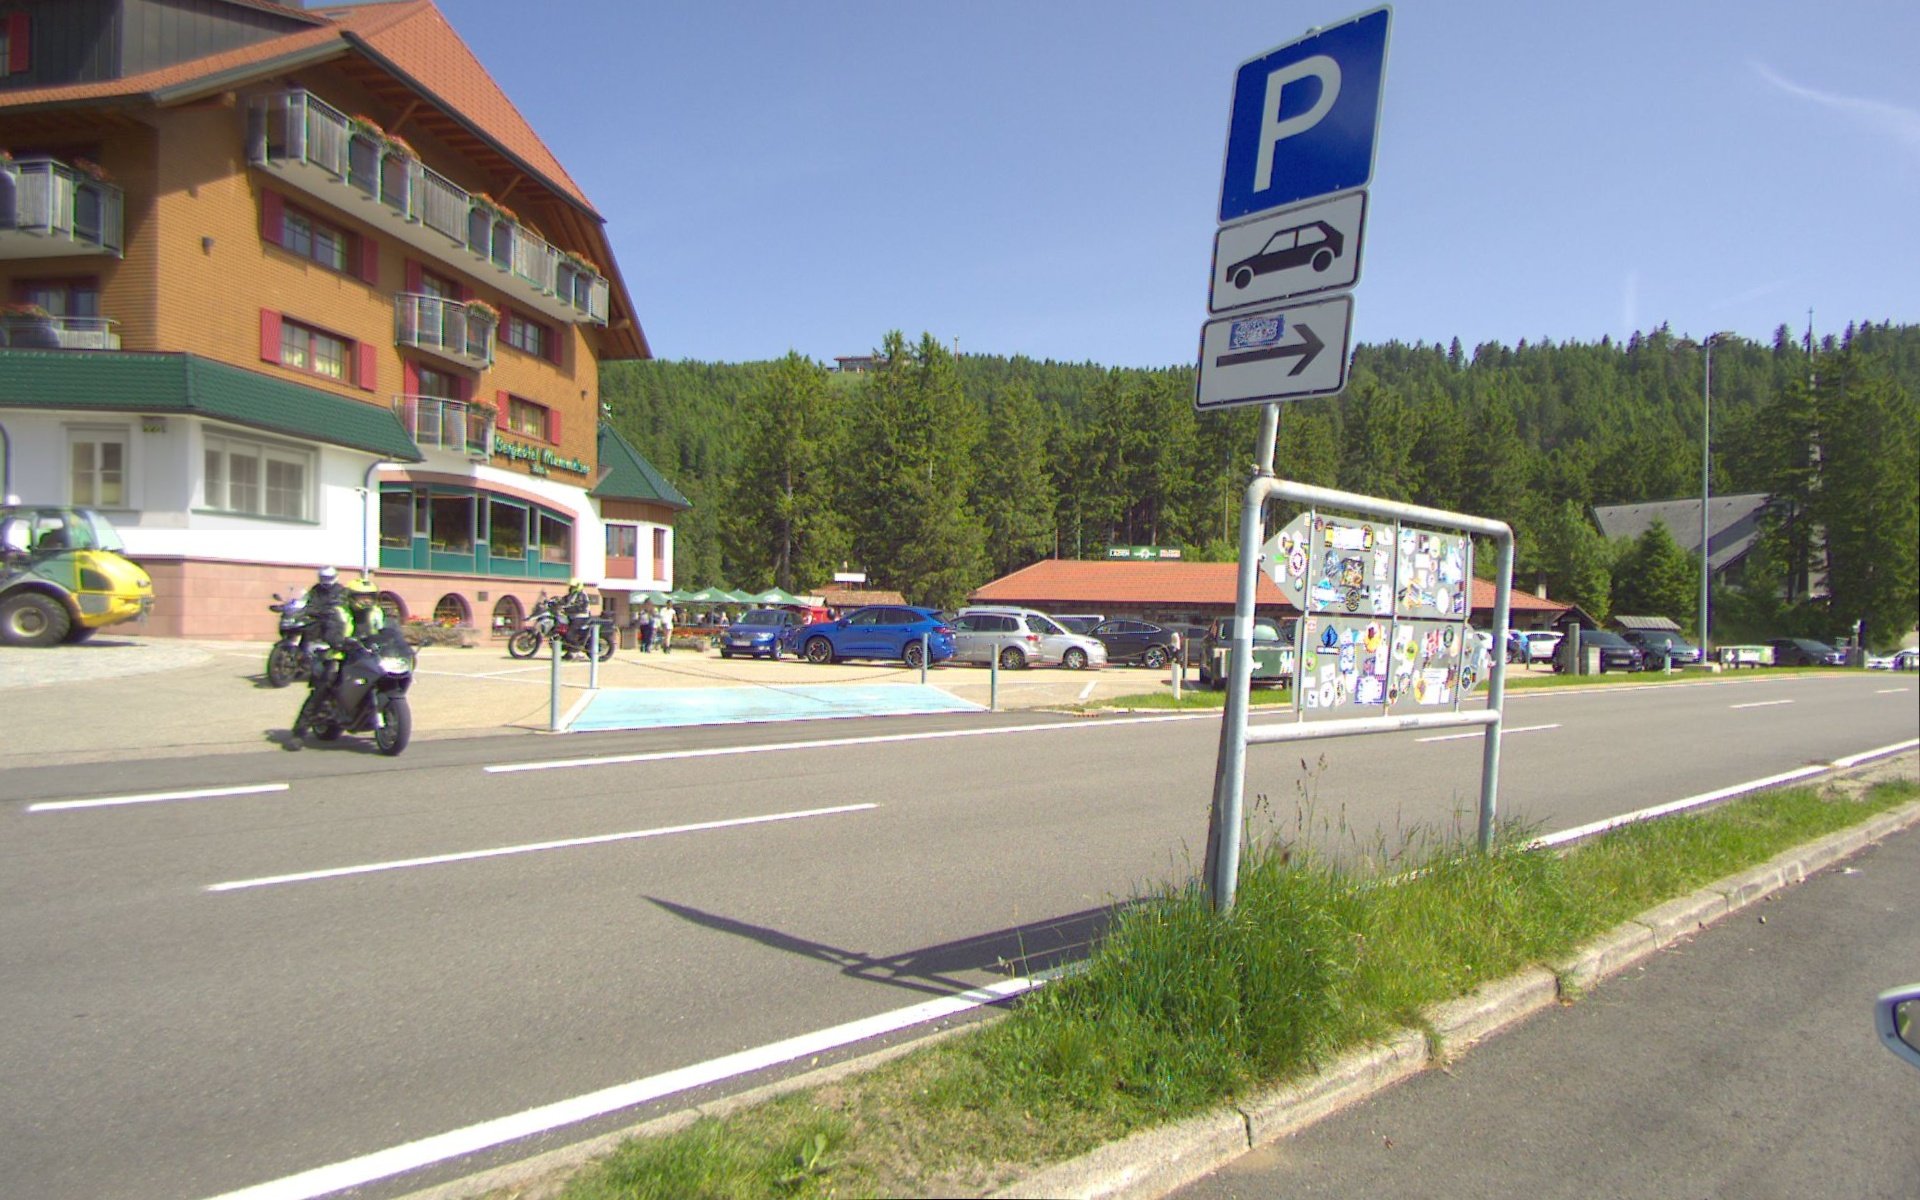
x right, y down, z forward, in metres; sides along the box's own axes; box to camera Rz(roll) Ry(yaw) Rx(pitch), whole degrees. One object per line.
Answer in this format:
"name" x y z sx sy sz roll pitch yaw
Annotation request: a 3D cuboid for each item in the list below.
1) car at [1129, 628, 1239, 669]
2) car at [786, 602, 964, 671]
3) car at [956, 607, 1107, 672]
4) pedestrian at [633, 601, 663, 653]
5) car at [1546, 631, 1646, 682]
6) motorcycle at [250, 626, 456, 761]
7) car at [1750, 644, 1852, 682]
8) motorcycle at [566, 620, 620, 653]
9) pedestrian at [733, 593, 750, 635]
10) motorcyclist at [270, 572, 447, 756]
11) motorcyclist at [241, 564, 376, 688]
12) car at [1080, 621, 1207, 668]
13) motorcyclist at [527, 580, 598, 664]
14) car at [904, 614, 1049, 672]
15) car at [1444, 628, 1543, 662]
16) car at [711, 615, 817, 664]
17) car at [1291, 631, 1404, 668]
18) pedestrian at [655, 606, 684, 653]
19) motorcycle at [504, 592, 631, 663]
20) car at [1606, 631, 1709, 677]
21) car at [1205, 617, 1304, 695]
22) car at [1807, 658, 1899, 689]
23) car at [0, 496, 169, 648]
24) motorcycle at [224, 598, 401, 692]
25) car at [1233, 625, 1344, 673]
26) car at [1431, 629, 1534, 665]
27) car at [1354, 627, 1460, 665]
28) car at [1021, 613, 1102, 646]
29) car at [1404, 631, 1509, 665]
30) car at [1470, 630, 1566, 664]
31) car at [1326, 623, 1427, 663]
"car" 7.685 1.652 34.668 3.565 1.339 1.589 0 -1 7
"car" -2.242 0.959 27.189 4.453 1.686 1.941 1 -1 8
"car" 2.252 1.177 30.933 4.438 1.888 1.837 0 -1 11
"pedestrian" -10.003 0.861 32.225 0.613 1.654 0.703 0 -1 17
"car" 21.796 1.876 34.597 1.747 1.572 4.002 1 -1 15
"motorcycle" -6.144 0.879 10.123 2.246 1.192 0.823 0 -1 31
"car" 42.246 3.146 50.572 1.753 1.655 4.213 3 -1 3
"motorcycle" -13.260 1.315 36.295 1.755 0.999 0.480 4 5 0
"pedestrian" -12.544 0.802 57.557 0.804 2.314 0.728 -2 -1 -19
"motorcyclist" -6.001 0.600 10.039 1.270 1.697 1.027 1 -1 31
"motorcyclist" -9.778 0.367 15.136 0.907 1.740 1.453 2 1 13
"car" 5.892 1.414 32.578 3.919 1.449 1.915 0 -1 8
"motorcyclist" -8.603 0.472 21.722 1.233 1.742 1.056 3 0 -29
"car" 0.528 1.209 29.124 3.919 1.566 2.001 0 -1 10
"car" 26.528 2.235 50.062 3.919 1.595 2.001 0 -1 9
"car" -5.624 1.108 29.267 1.679 1.314 4.003 0 -1 10
"car" 15.486 1.964 40.282 3.919 1.389 1.813 0 -1 9
"pedestrian" -9.314 0.939 32.210 0.613 1.509 0.703 0 -1 17
"motorcycle" -8.491 0.598 21.754 2.415 1.425 0.998 3 0 -29
"car" 26.999 2.058 39.049 1.705 1.588 4.062 2 -1 9
"car" 6.483 1.178 22.485 1.771 1.561 4.195 0 -1 12
"car" 47.668 3.902 53.705 1.708 1.460 3.973 0 -2 7
"car" -16.887 -0.497 17.952 3.955 2.528 1.984 4 -2 -31
"motorcycle" -9.734 0.627 15.227 0.861 1.273 2.278 2 1 13
"car" 12.537 1.847 38.554 3.919 1.726 1.827 0 -1 14
"car" 24.811 2.217 47.841 3.919 1.595 2.001 0 -1 9
"car" 19.593 2.010 44.212 3.919 1.565 1.901 0 -1 10
"car" 4.897 1.415 48.549 3.802 1.550 1.912 0 -1 6
"car" 22.607 2.165 45.843 3.919 1.439 1.909 0 -1 9
"car" 28.773 2.411 51.900 3.949 1.694 1.778 0 -2 8
"car" 17.519 1.796 42.398 3.657 1.609 1.736 0 -1 9
